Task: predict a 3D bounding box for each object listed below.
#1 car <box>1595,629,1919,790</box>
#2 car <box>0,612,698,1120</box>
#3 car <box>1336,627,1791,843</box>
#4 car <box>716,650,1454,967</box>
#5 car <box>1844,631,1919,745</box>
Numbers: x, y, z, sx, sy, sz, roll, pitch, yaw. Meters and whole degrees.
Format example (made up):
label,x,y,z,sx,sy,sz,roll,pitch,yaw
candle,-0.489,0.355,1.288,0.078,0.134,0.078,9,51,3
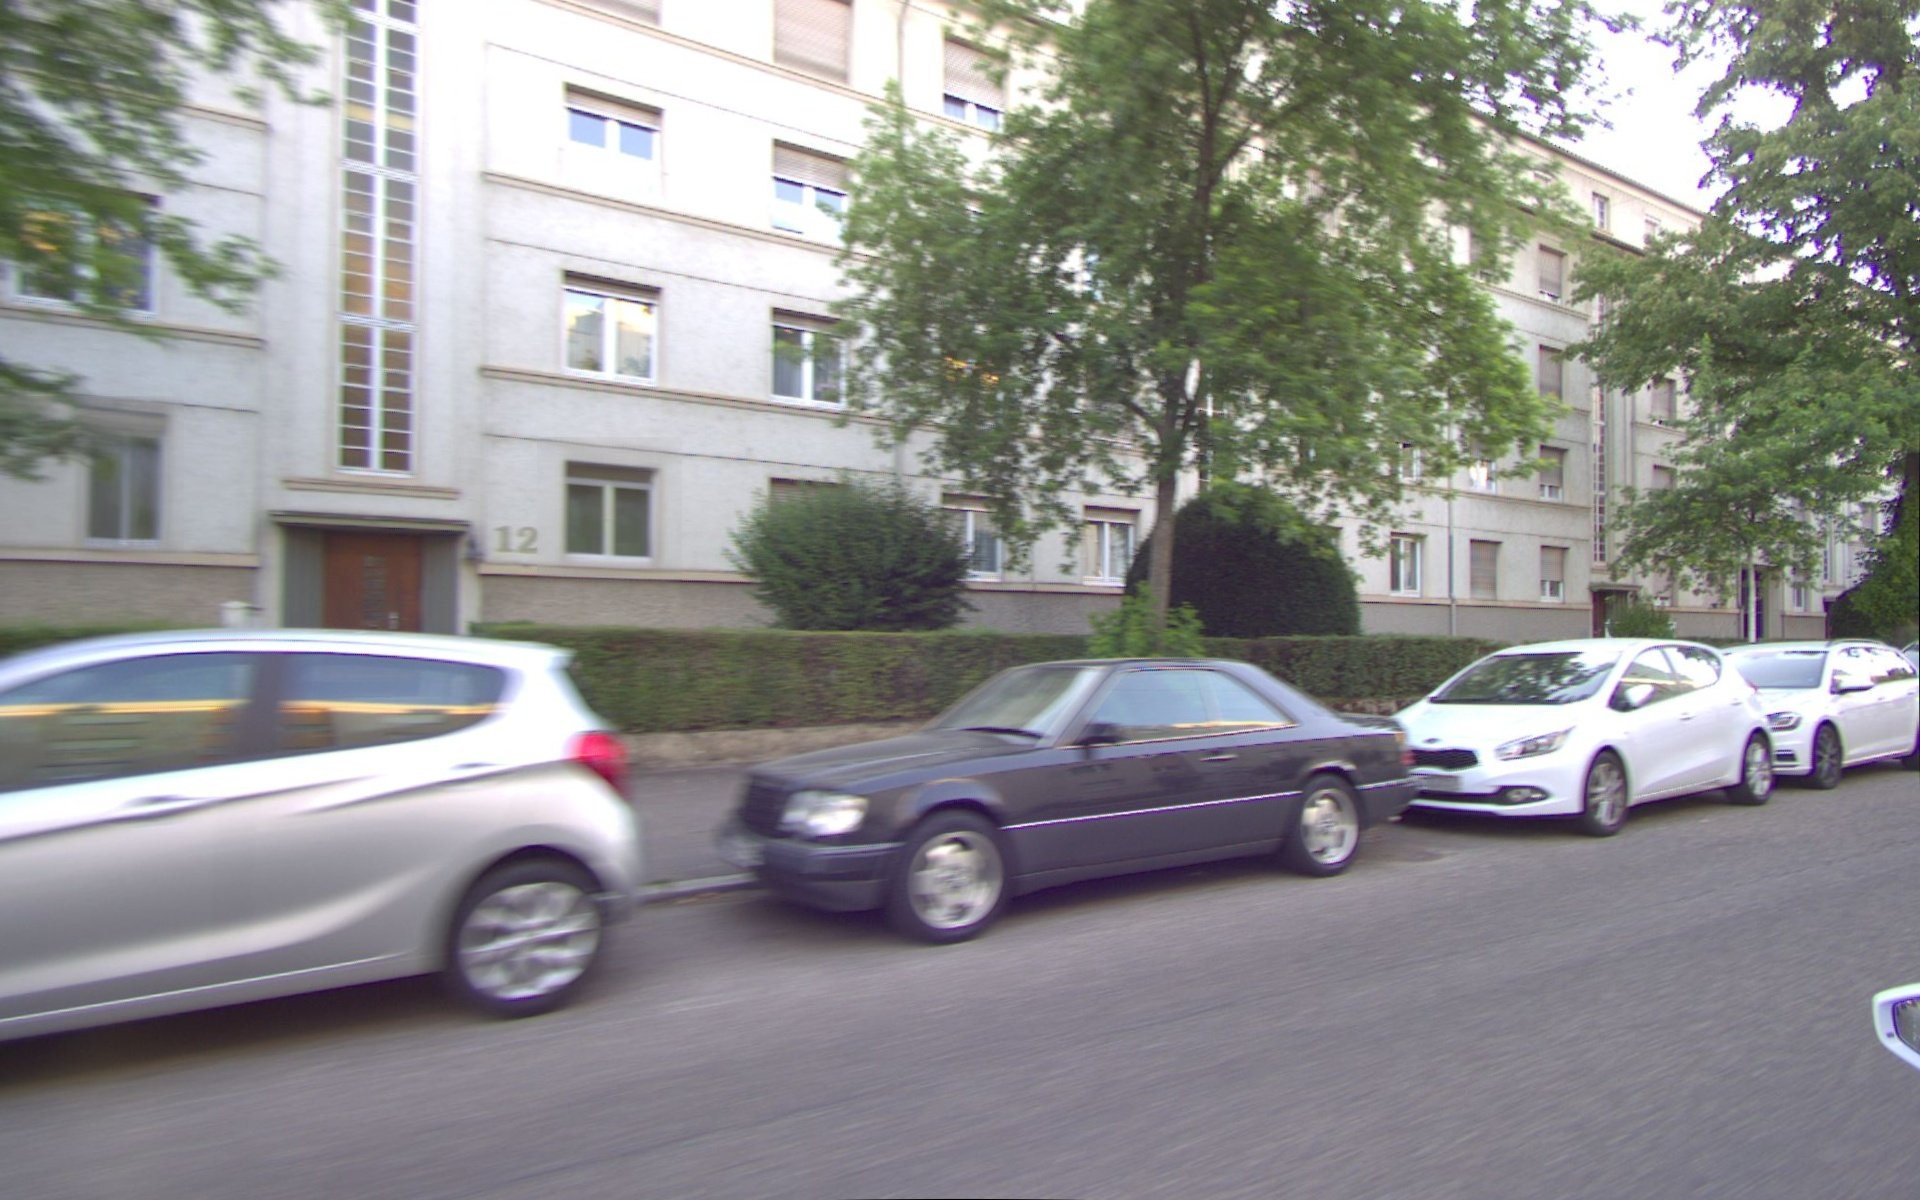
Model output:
label,x,y,z,sx,sy,sz,roll,pitch,yaw
car,9.148,1.121,11.146,4.431,1.478,1.685,1,-5,-31
car,-3.047,0.844,3.807,3.665,1.478,1.666,2,-5,-33
car,5.324,1.039,8.735,4.099,1.478,1.684,1,-5,-32
car,0.938,1.028,6.295,4.528,1.349,1.667,1,-5,-31
car,14.435,1.208,14.337,3.755,1.524,1.583,1,-5,-31
